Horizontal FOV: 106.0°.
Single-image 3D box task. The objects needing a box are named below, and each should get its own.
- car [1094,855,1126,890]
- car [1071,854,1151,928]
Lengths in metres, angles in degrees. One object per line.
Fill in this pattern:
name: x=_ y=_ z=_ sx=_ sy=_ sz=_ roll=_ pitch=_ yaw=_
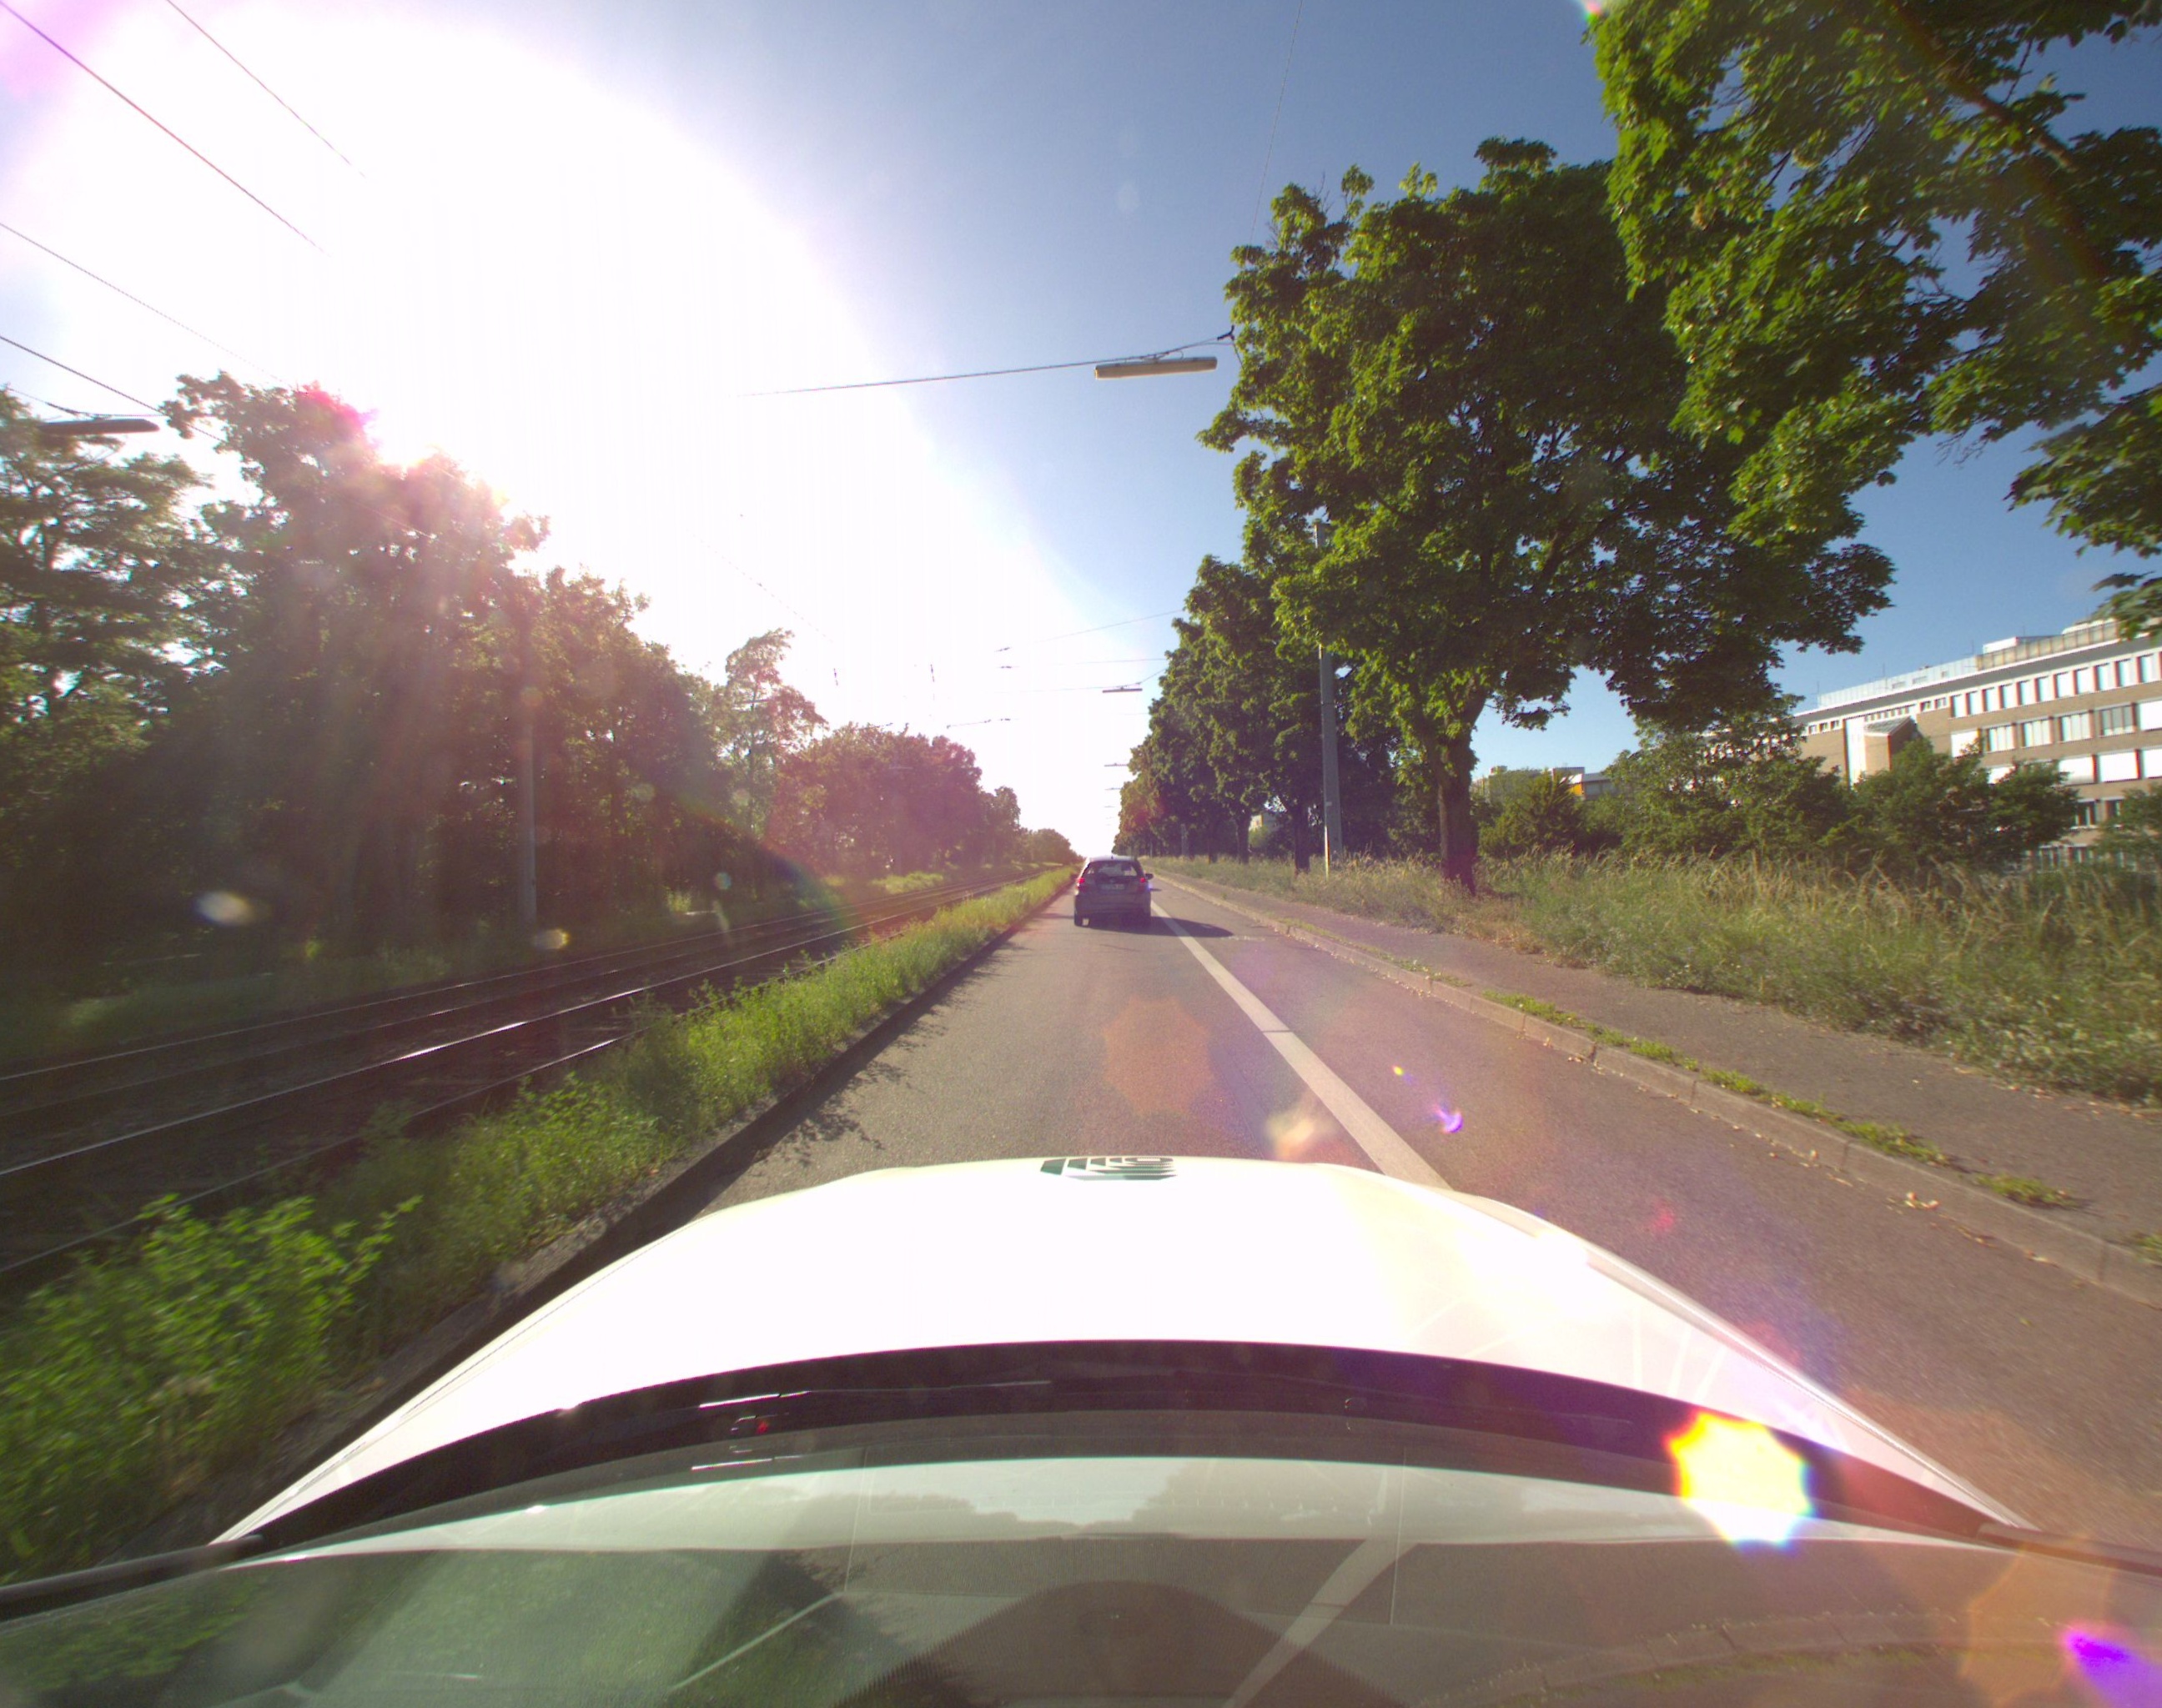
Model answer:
car: x=1.369 y=0.848 z=38.083 sx=1.346 sy=1.528 sz=3.125 roll=-2 pitch=-1 yaw=3
car: x=0.648 y=0.770 z=18.860 sx=1.665 sy=1.515 sz=3.674 roll=0 pitch=0 yaw=1
